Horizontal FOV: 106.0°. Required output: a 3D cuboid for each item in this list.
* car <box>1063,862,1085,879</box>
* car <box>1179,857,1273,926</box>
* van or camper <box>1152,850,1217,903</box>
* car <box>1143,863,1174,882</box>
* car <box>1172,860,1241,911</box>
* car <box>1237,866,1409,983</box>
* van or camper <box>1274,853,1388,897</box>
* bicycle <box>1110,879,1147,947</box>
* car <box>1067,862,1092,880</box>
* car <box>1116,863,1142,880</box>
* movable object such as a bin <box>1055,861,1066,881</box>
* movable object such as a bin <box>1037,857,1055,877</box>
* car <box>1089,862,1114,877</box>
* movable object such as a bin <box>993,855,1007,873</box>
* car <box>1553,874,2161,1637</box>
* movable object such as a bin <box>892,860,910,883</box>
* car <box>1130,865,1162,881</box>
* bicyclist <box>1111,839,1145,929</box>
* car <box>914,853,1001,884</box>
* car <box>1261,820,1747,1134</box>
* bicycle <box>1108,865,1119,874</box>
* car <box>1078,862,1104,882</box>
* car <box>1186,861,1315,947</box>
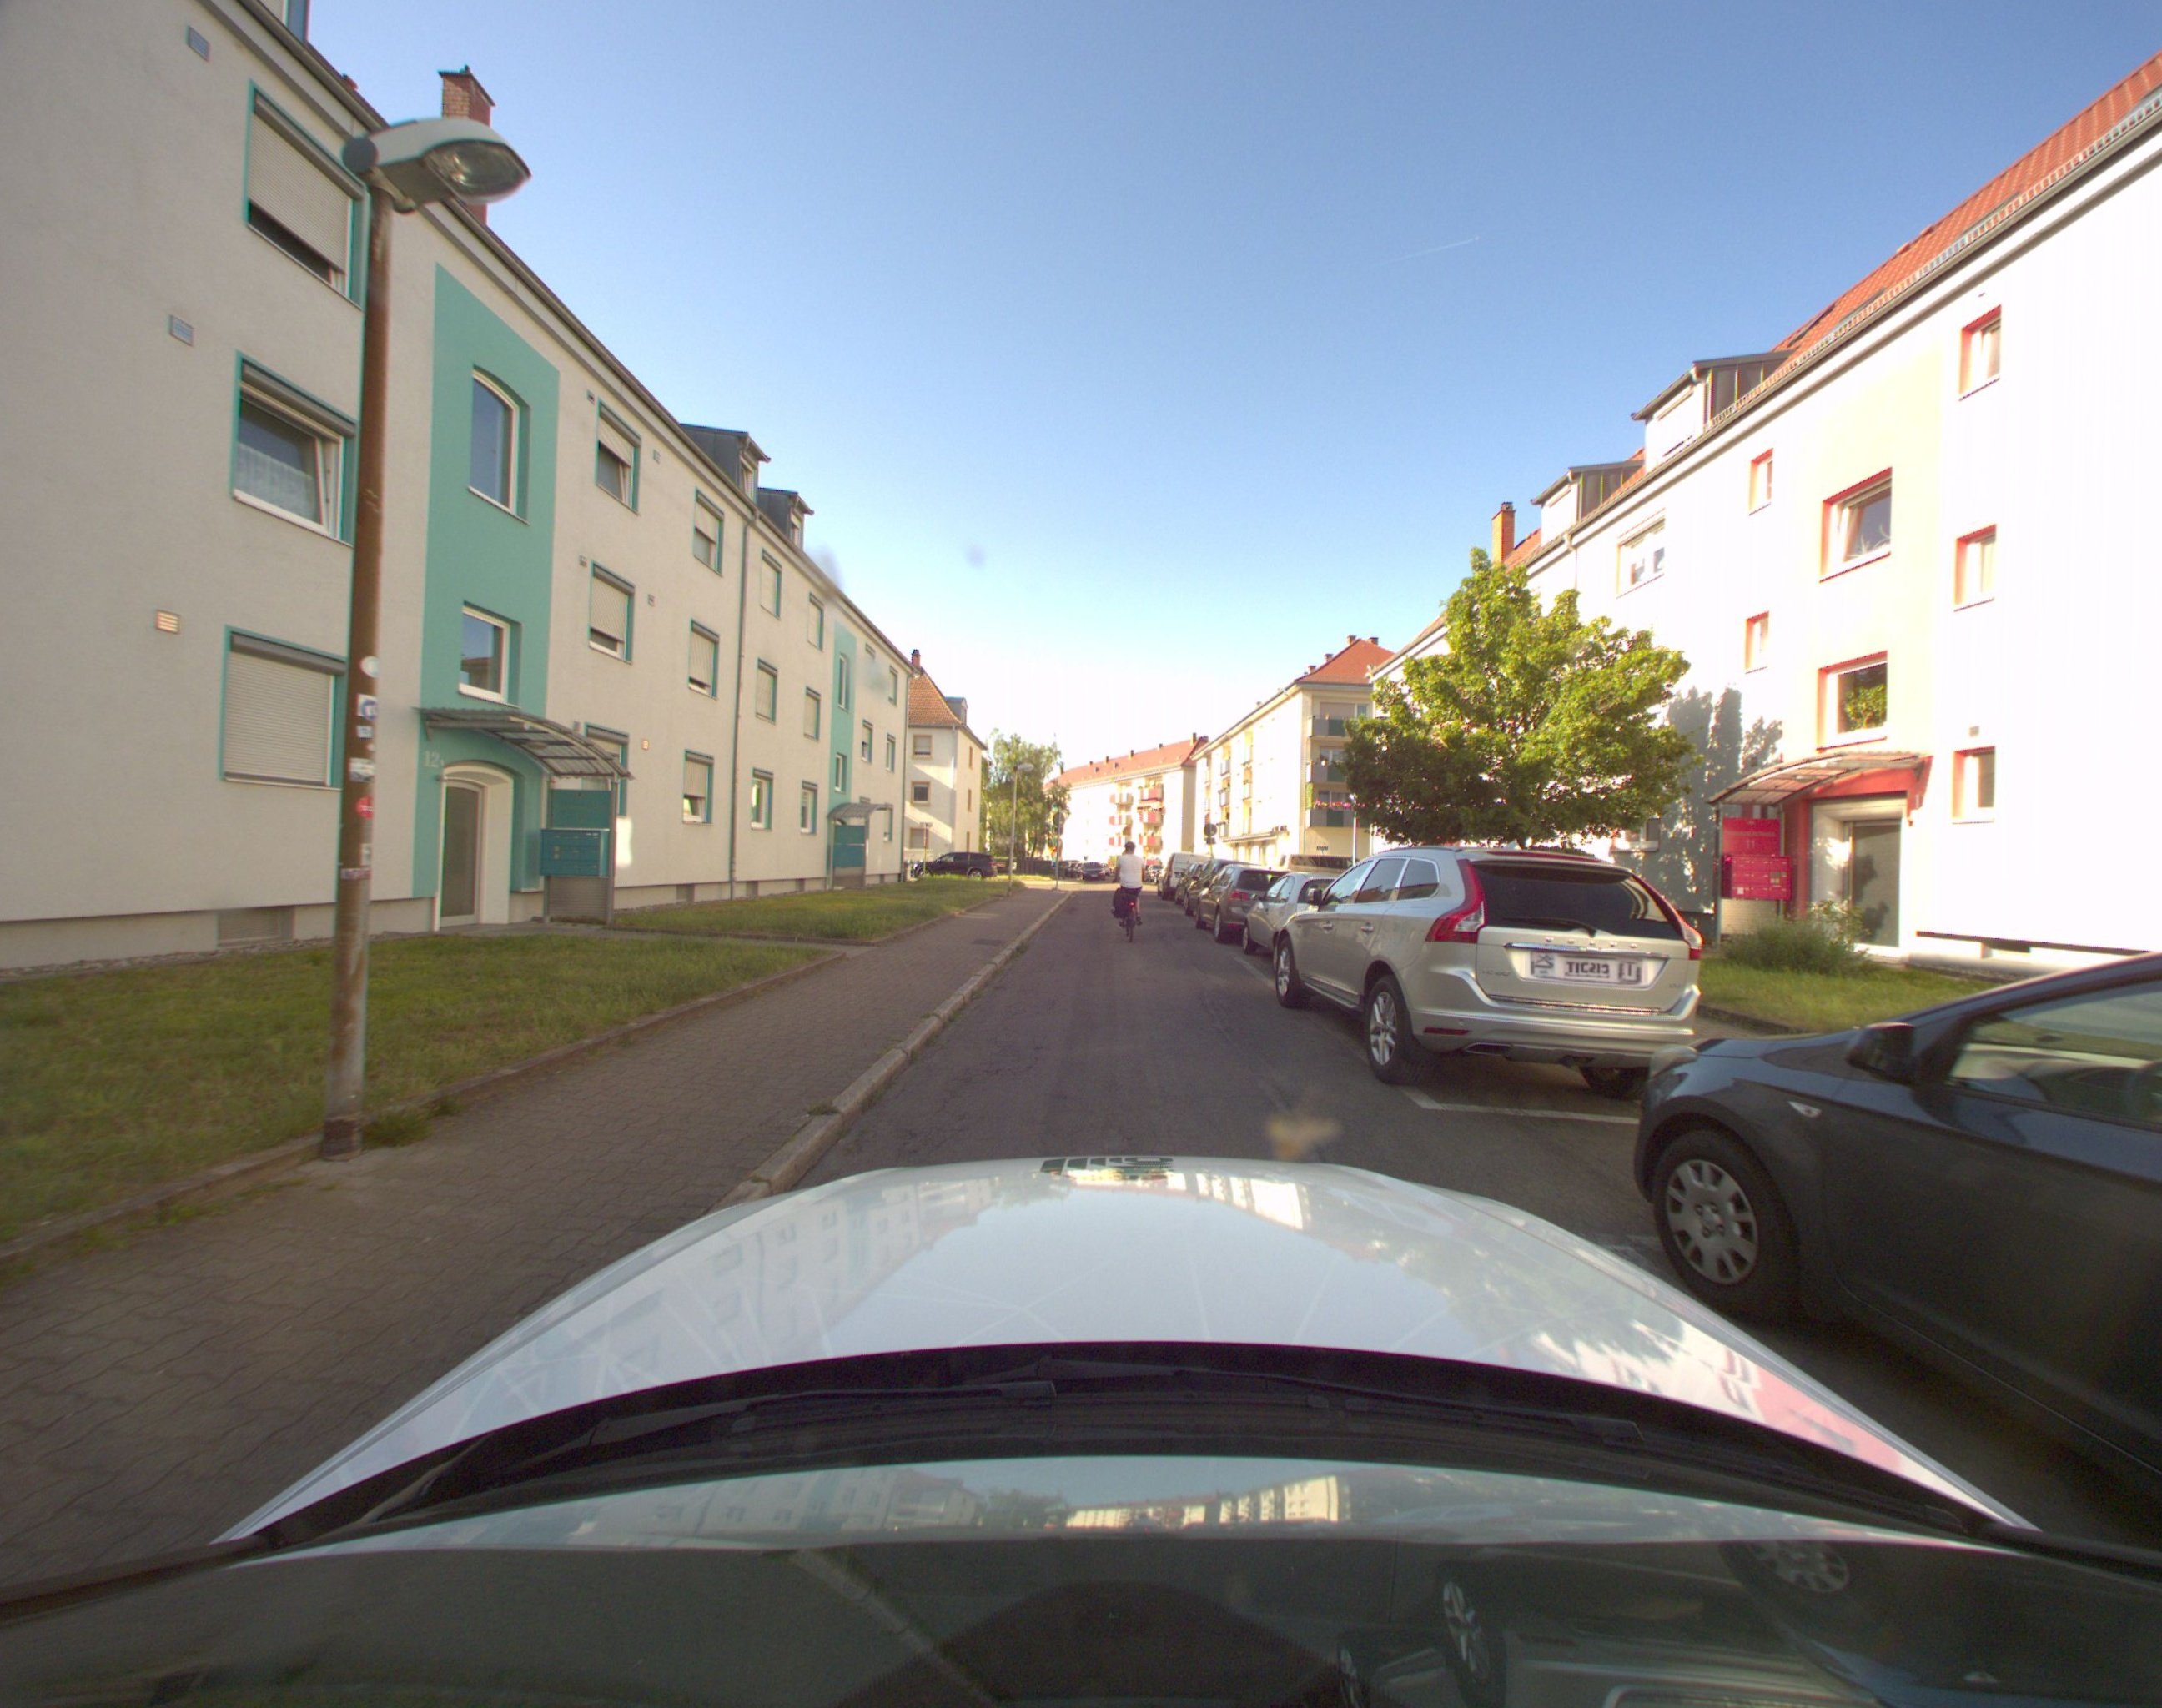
[{"bbox_3d":[-0.703,1.471,74.650,1.554,1.442,3.958,-1,-1,-7],"label":"car"},{"bbox_3d":[3.625,0.889,20.986,1.613,1.550,3.608,2,0,-2],"label":"car"},{"bbox_3d":[3.815,0.805,30.834,1.786,1.748,4.734,3,0,0],"label":"van or camper"},{"bbox_3d":[6.381,1.545,67.658,1.675,1.447,4.715,1,0,-5],"label":"car"},{"bbox_3d":[3.882,0.940,25.720,1.567,1.417,3.787,-2,0,0],"label":"car"},{"bbox_3d":[3.439,0.926,12.187,1.622,1.394,3.491,2,0,2],"label":"car"},{"bbox_3d":[12.518,1.031,41.057,5.103,2.013,2.001,1,1,2],"label":"van or camper"},{"bbox_3d":[0.847,1.034,14.893,0.625,1.115,1.817,-1,0,2],"label":"bicycle"},{"bbox_3d":[-0.147,1.413,69.372,1.676,1.442,4.269,-1,-1,-7],"label":"car"},{"bbox_3d":[4.700,1.719,80.282,1.693,1.656,4.377,0,-1,-8],"label":"car"},{"bbox_3d":[-1.508,1.259,60.013,0.773,1.393,1.417,1,-1,0],"label":"movable object such as a bin"},{"bbox_3d":[-2.593,0.957,60.334,1.214,1.380,0.768,2,-1,4],"label":"movable object such as a bin"},{"bbox_3d":[2.316,1.736,92.853,1.770,1.635,4.018,0,1,-17],"label":"car"},{"bbox_3d":[-6.538,0.835,65.659,1.057,1.435,1.002,0,-1,-1],"label":"movable object such as a bin"},{"bbox_3d":[2.932,0.823,1.684,1.612,1.449,3.855,1,0,-2],"label":"car"},{"bbox_3d":[-8.122,0.790,36.821,0.611,0.992,0.715,2,0,0],"label":"movable object such as a bin"},{"bbox_3d":[5.856,1.688,73.577,1.695,1.432,4.669,0,-1,-11],"label":"car"},{"bbox_3d":[0.844,0.540,14.873,0.594,1.579,0.907,0,-1,2],"label":"bicyclist"},{"bbox_3d":[-6.779,0.818,44.907,4.472,1.664,1.720,0,-2,1],"label":"car"},{"bbox_3d":[2.943,0.723,6.883,1.770,1.719,4.306,4,0,0],"label":"car"},{"bbox_3d":[4.068,1.935,102.090,0.619,0.978,1.883,-2,2,-20],"label":"bicycle"},{"bbox_3d":[0.758,1.398,64.136,1.674,1.453,4.615,-2,-1,-3],"label":"car"},{"bbox_3d":[3.203,0.884,16.088,1.624,1.450,3.949,1,0,-1],"label":"car"}]
